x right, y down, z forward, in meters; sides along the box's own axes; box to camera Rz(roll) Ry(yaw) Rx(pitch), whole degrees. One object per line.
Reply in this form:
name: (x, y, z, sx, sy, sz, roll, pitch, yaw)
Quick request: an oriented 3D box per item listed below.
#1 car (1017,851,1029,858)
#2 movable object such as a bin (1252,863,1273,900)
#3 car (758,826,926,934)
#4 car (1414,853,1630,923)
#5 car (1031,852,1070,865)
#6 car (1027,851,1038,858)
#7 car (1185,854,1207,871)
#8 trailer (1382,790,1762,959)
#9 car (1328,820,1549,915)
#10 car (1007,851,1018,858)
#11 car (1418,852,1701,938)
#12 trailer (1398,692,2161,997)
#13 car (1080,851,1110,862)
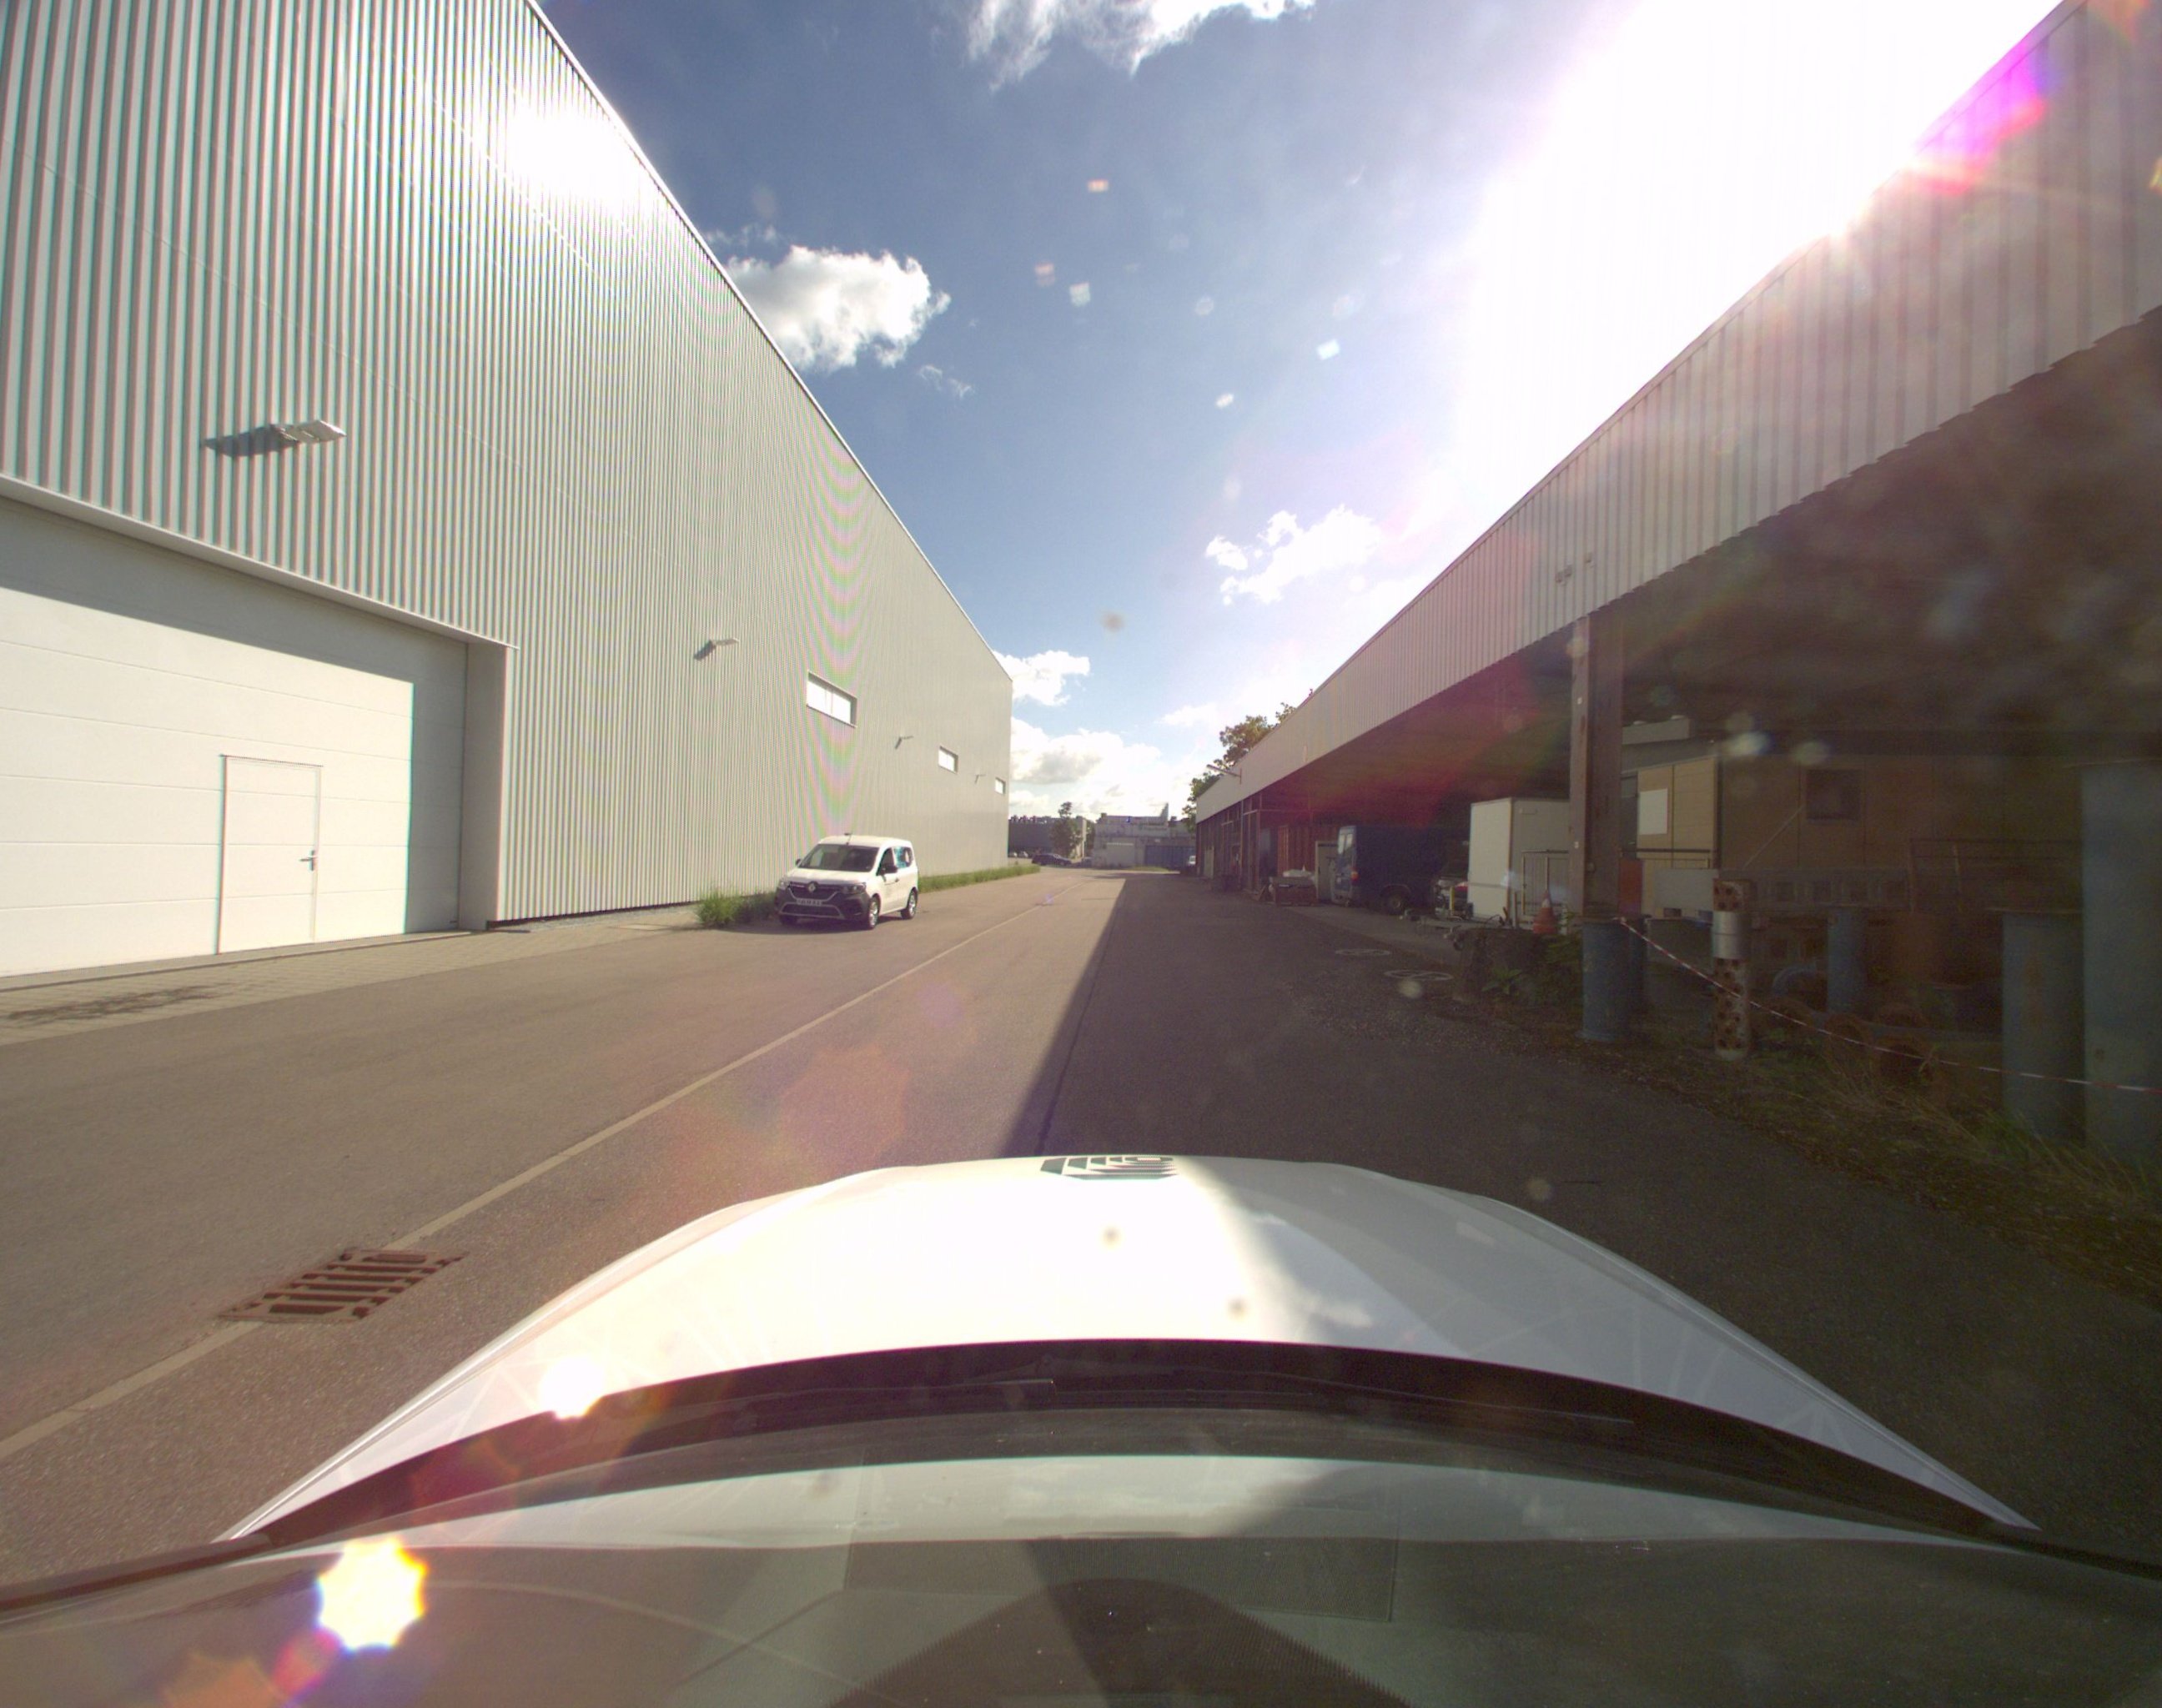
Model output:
car: (-14.009, 0.149, 197.068, 2.184, 1.736, 4.003, 0, -1, 3)
movable object such as a bin: (6.078, 0.906, 27.290, 0.578, 1.164, 1.241, 0, 0, 8)
car: (-4.731, 0.466, 16.900, 1.882, 1.845, 4.362, 3, 0, 3)
car: (9.874, 0.740, 18.438, 3.975, 1.472, 1.787, 1, 0, -1)
car: (-3.678, 0.543, 99.204, 4.504, 1.508, 1.911, 0, 0, 5)
car: (-11.577, 0.084, 195.232, 2.184, 1.736, 4.003, 0, -1, 3)
car: (12.054, 0.911, 85.626, 1.985, 1.585, 4.176, 1, 1, 3)
trailer: (7.419, 0.275, 12.779, 4.785, 2.391, 1.831, 0, 0, 8)
car: (9.268, 0.329, 21.441, 4.957, 2.325, 2.002, 1, 0, 3)
car: (-16.603, 0.199, 196.854, 1.985, 1.736, 4.003, 0, -1, 3)
car: (8.864, 0.722, 15.353, 4.313, 1.496, 1.777, 0, 0, 1)
trailer: (9.500, -0.115, 10.128, 9.995, 3.216, 2.856, 0, 0, 3)
car: (2.231, 0.391, 126.566, 4.505, 1.508, 1.911, 1, 0, 4)
